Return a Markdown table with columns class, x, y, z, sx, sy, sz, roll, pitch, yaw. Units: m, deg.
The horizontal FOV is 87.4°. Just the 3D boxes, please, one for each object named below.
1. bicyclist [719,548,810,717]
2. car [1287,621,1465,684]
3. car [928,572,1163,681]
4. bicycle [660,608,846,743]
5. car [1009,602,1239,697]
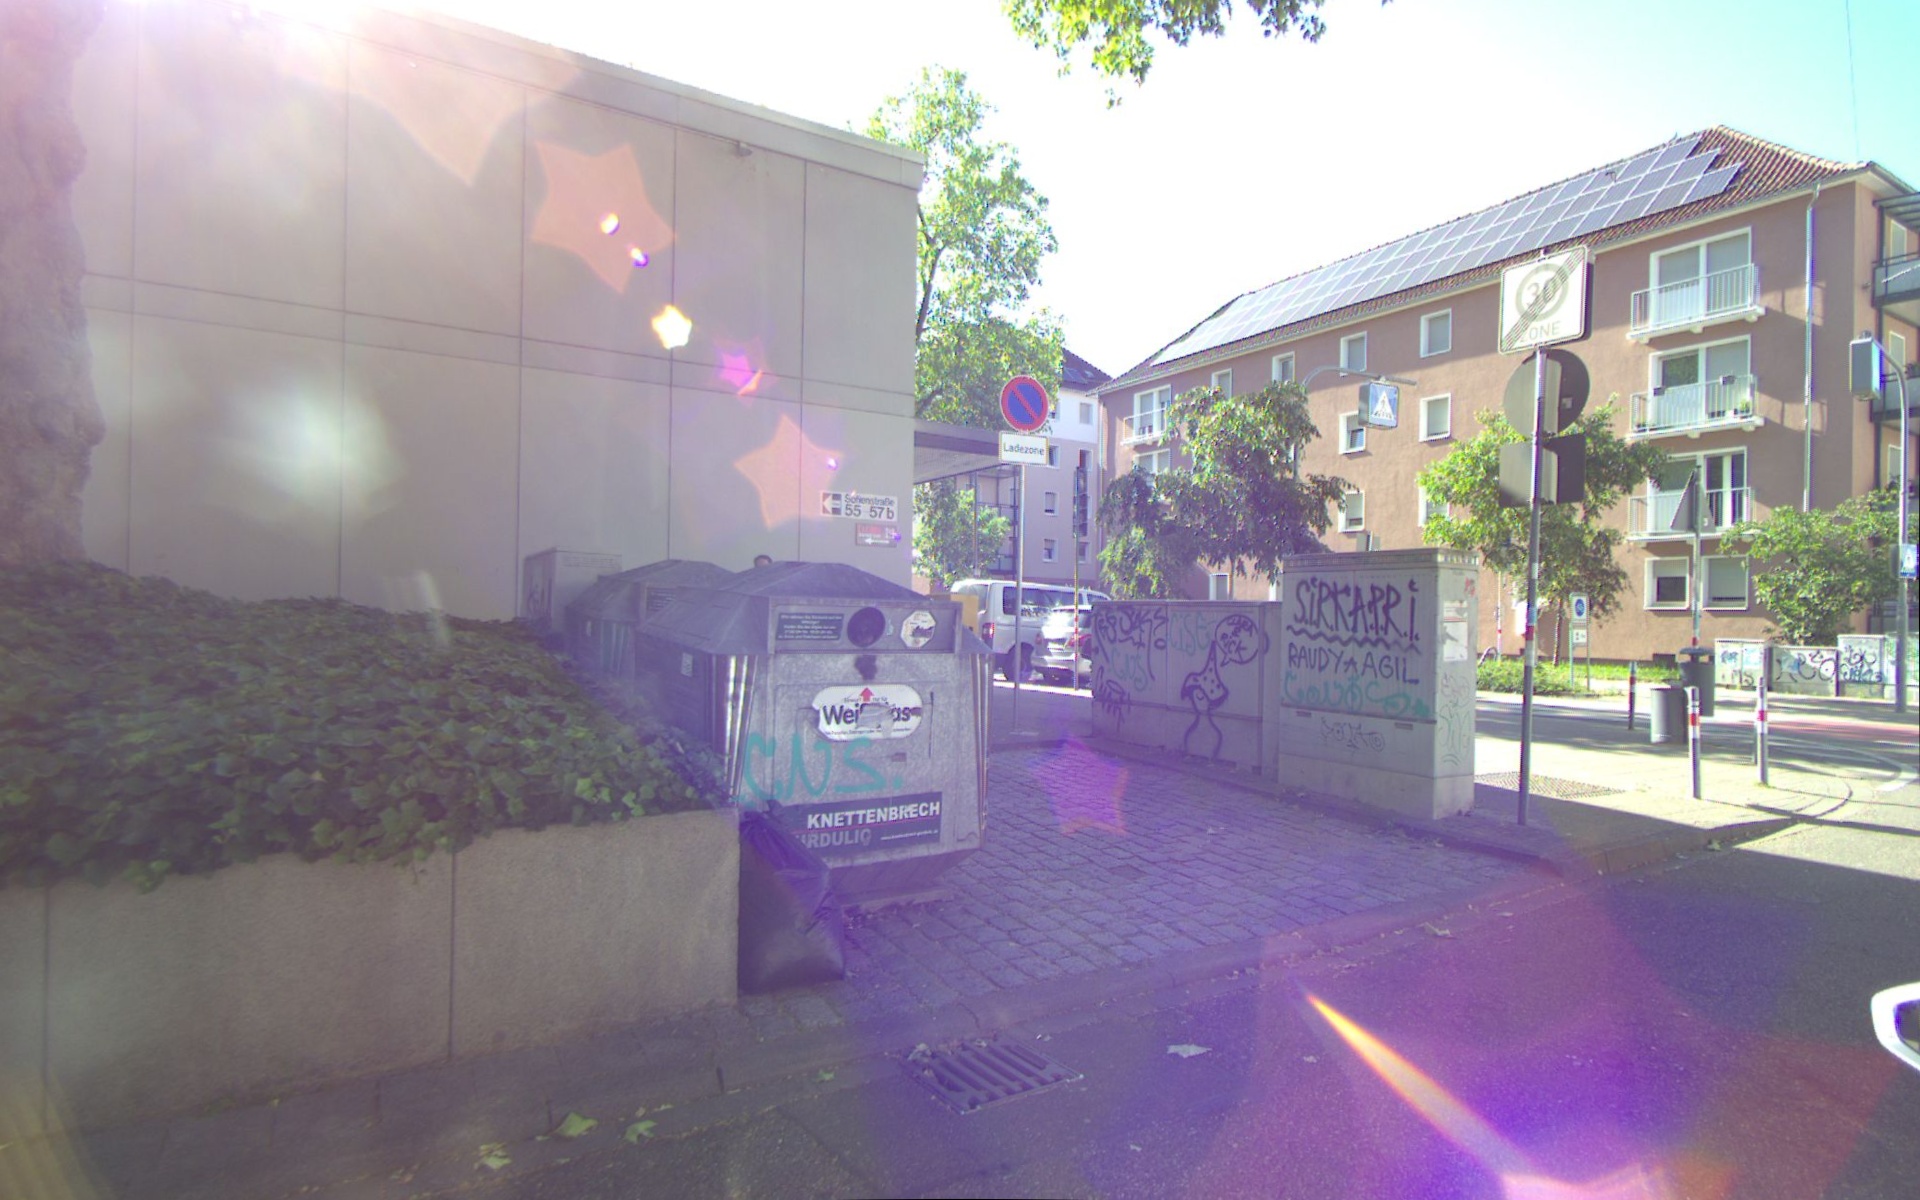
| class | x | y | z | sx | sy | sz | roll | pitch | yaw |
| --- | --- | --- | --- | --- | --- | --- | --- | --- | --- |
| bicyclist | -1.941 | 0.312 | 9.980 | 0.694 | 1.605 | 0.533 | 1 | -1 | 33 |
| car | 10.794 | 1.328 | 26.360 | 1.726 | 1.473 | 4.121 | 1 | -1 | -31 |
| car | 1.850 | 0.603 | 21.083 | 4.695 | 2.032 | 1.942 | 3 | -2 | -33 |
| bicycle | -1.990 | 0.685 | 9.872 | 0.791 | 1.168 | 1.713 | 3 | 1 | 33 |
| car | 3.185 | 0.906 | 19.205 | 4.256 | 1.634 | 1.743 | 2 | -1 | -32 |
